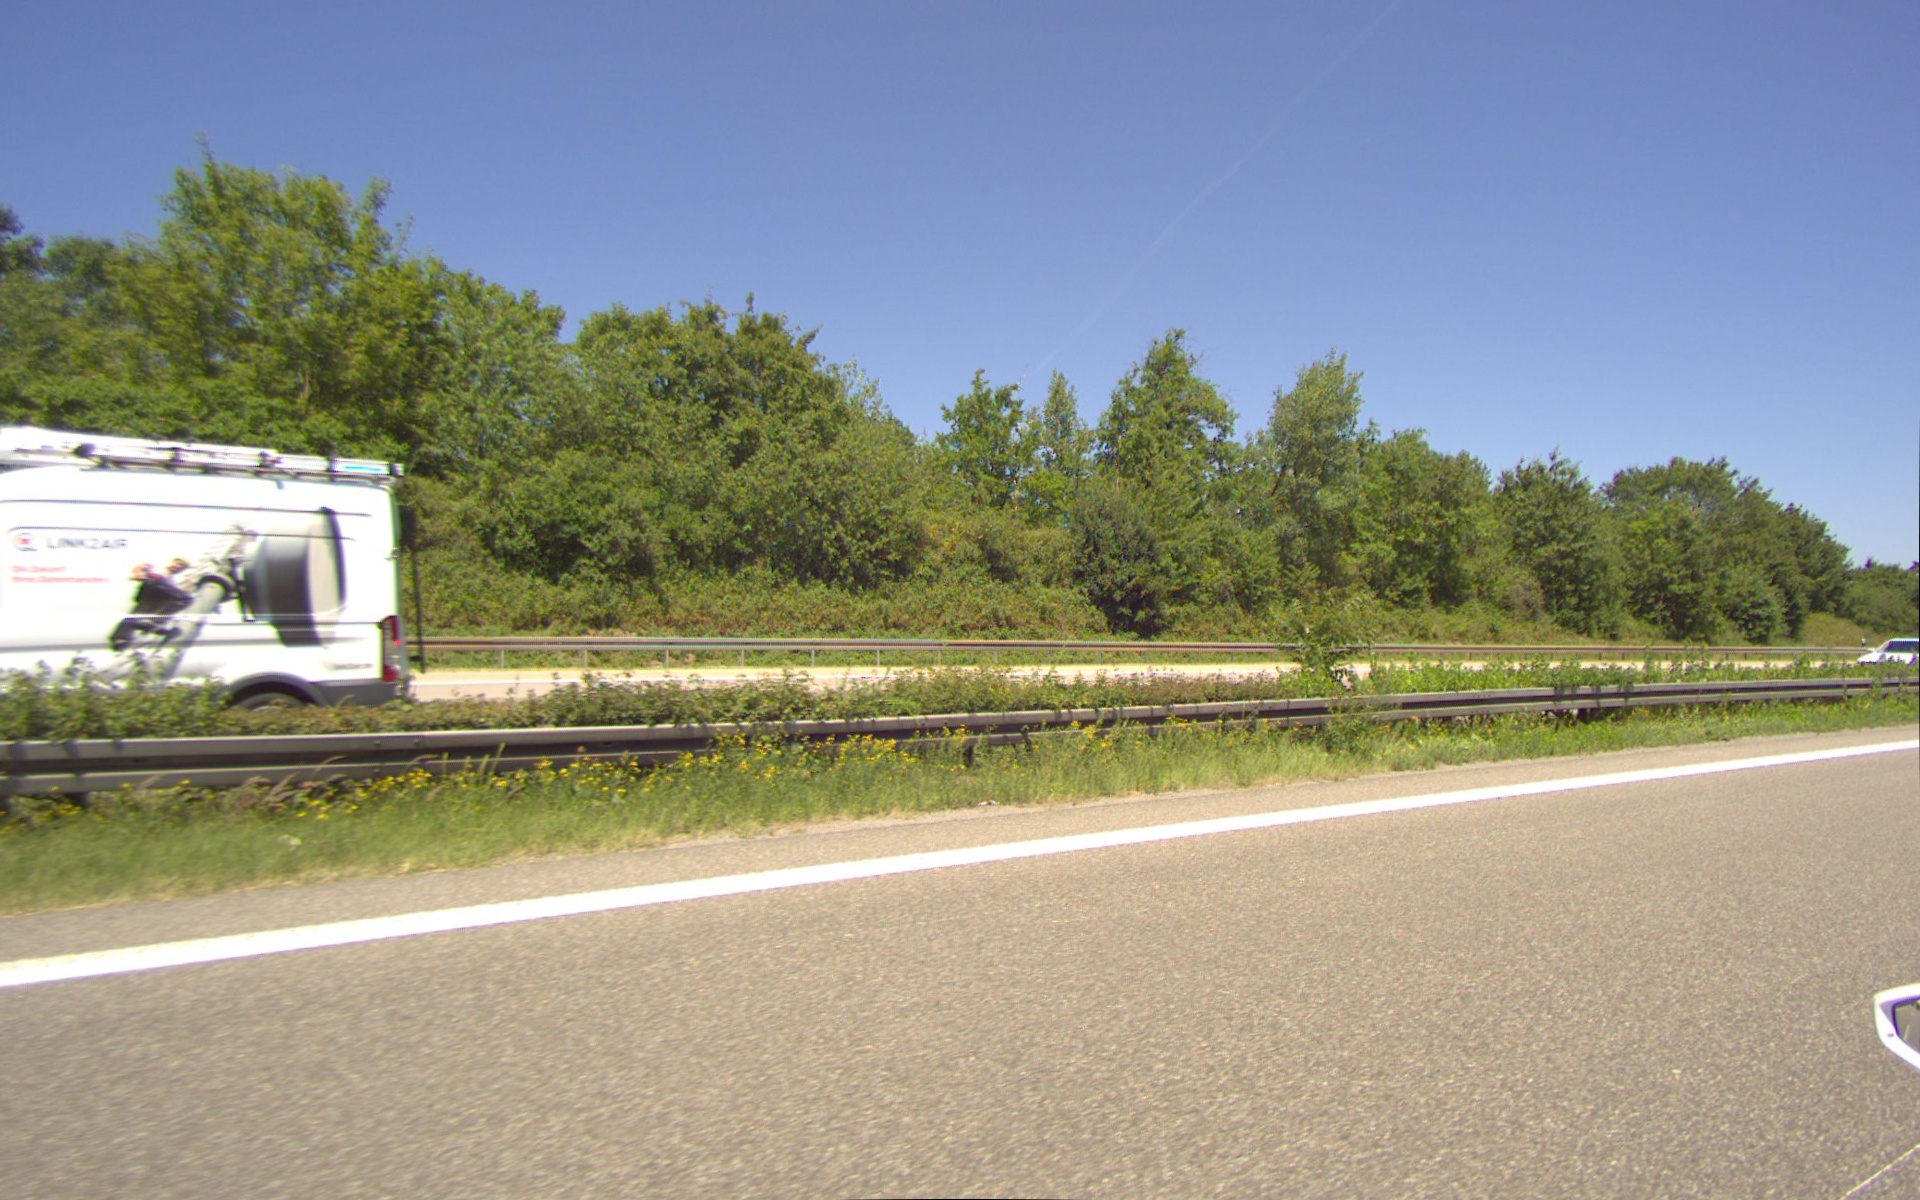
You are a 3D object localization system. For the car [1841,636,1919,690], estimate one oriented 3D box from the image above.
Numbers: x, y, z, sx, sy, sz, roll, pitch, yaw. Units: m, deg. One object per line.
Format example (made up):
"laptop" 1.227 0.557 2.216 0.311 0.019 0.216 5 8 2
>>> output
"car" 29.816 1.935 31.548 4.863 1.556 1.829 2 -1 -31

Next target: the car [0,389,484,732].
"car" -7.774 -0.303 9.499 5.759 2.816 2.079 2 -1 -30
